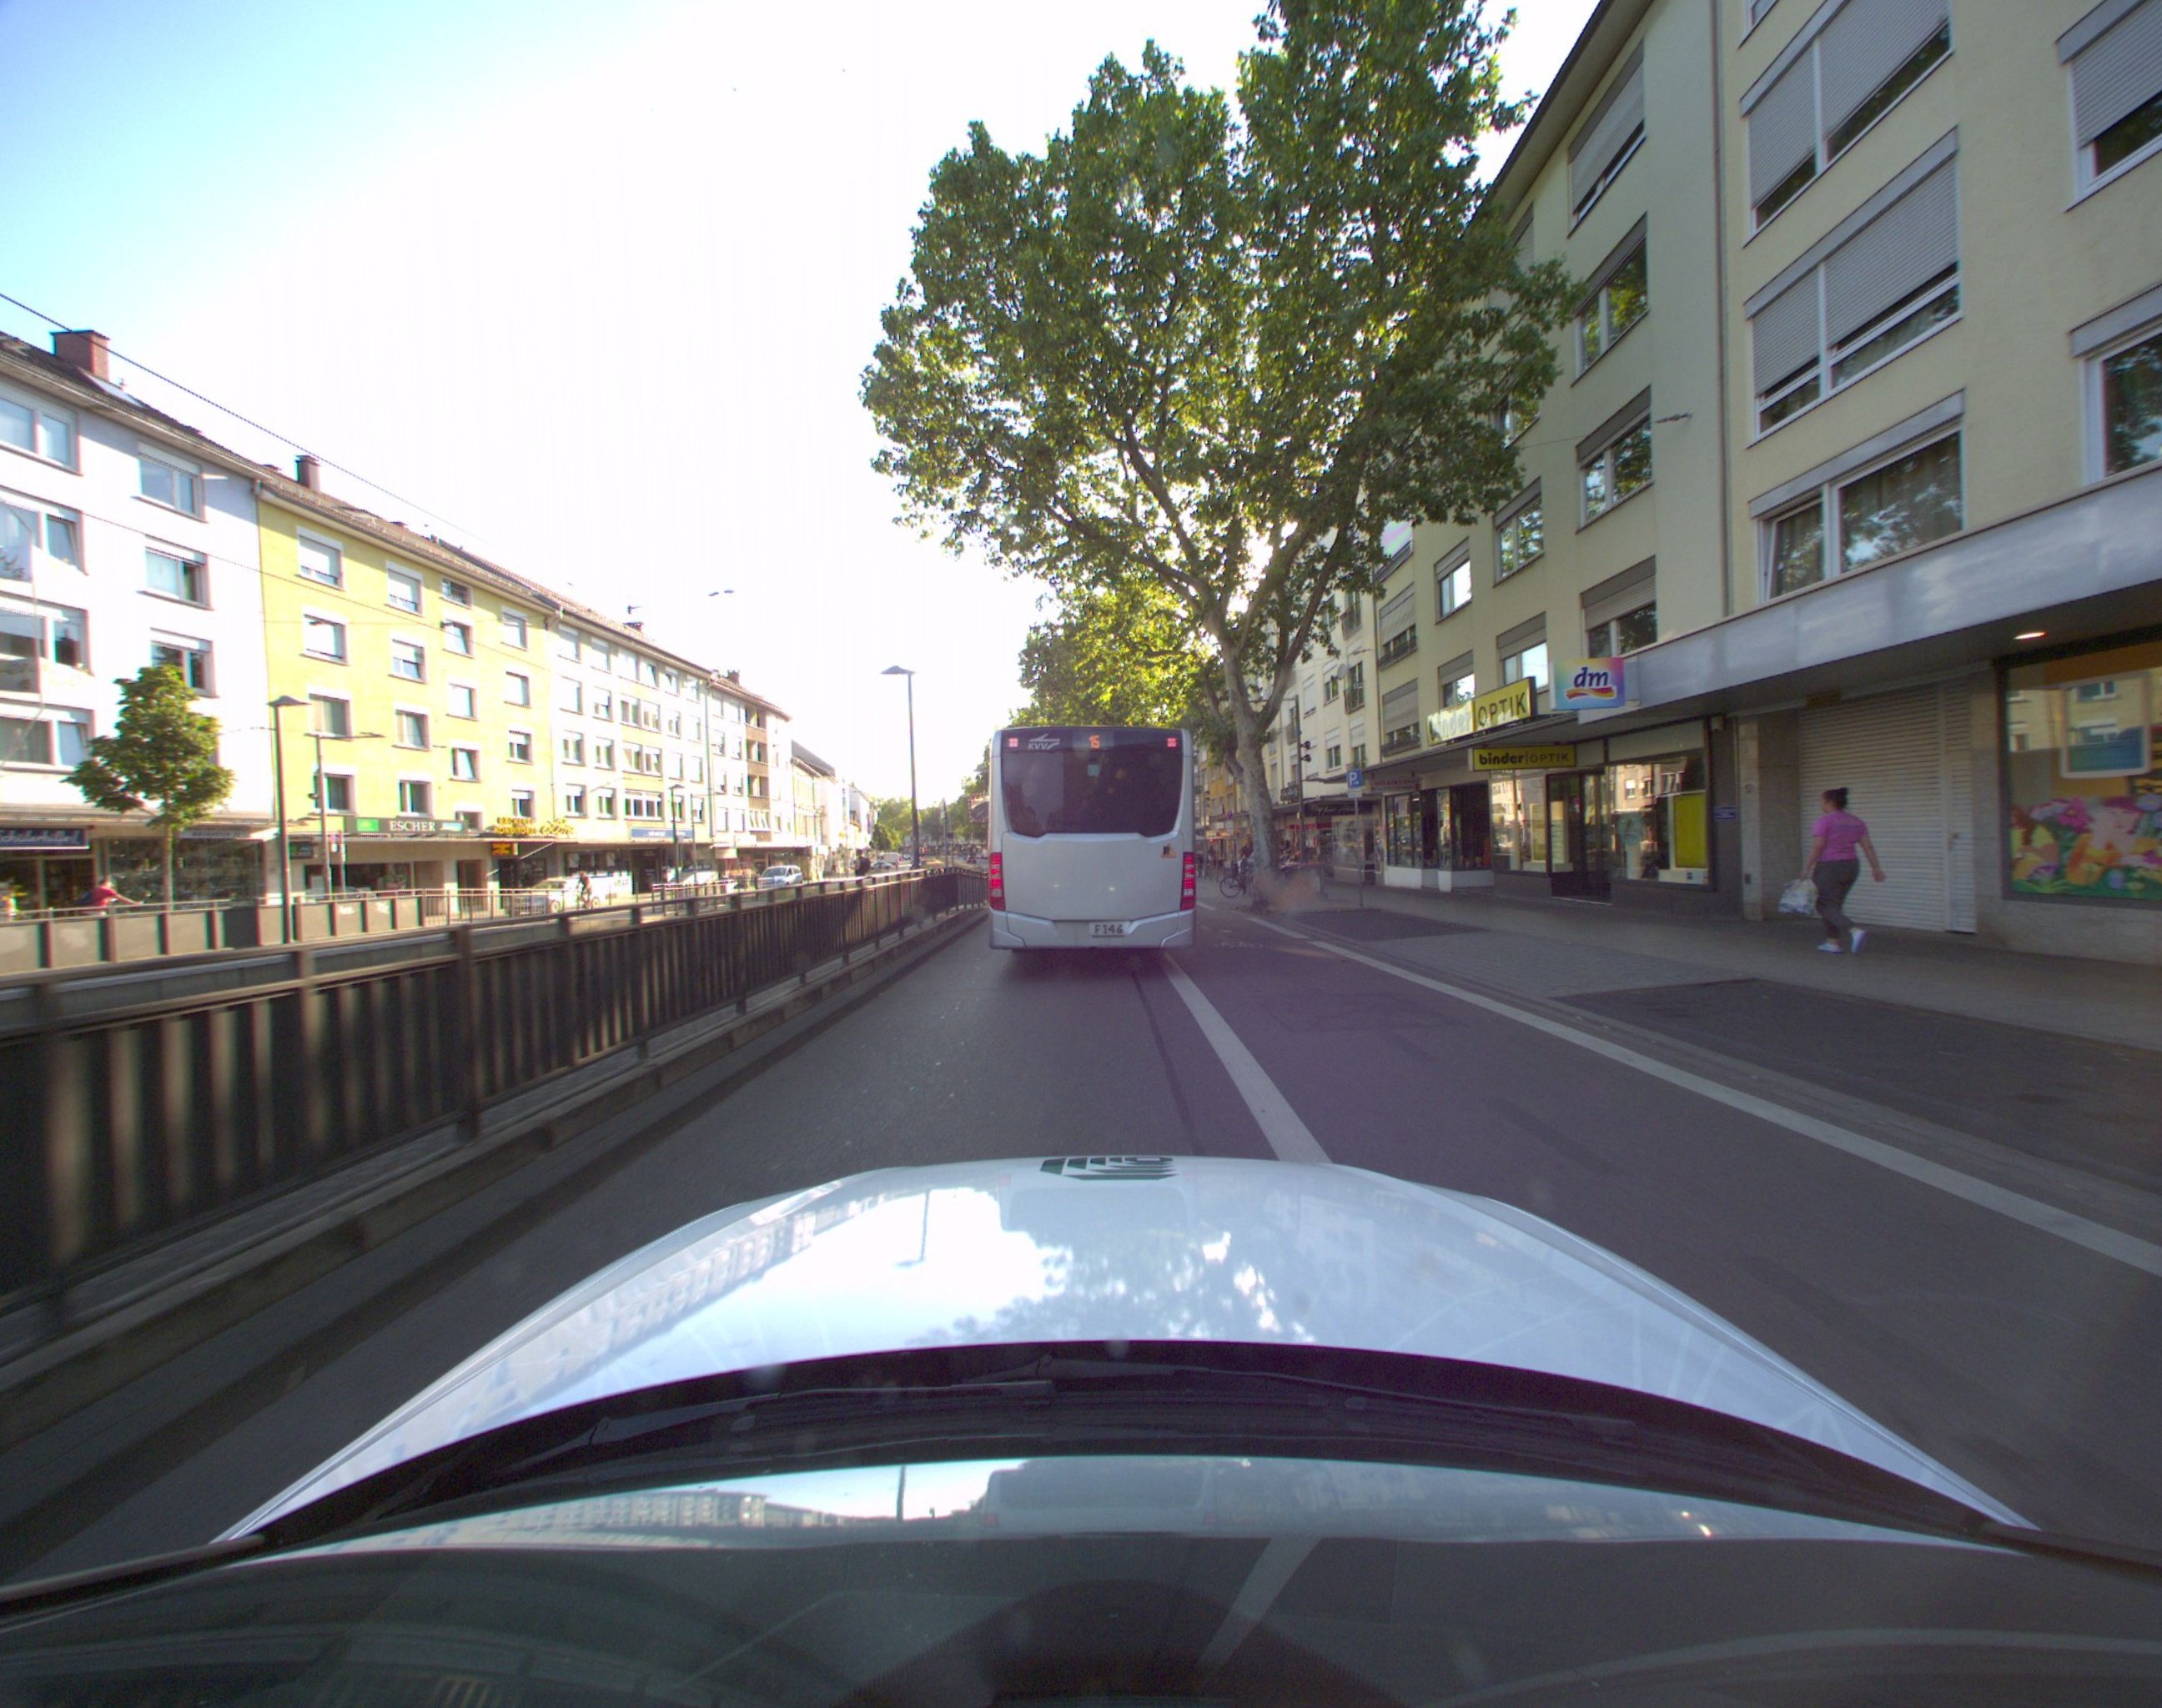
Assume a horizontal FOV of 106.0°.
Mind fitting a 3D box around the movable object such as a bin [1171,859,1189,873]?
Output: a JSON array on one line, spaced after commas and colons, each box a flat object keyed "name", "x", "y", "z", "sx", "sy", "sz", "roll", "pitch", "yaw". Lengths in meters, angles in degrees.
[{"name": "movable object such as a bin", "x": 7.006, "y": 0.847, "z": 57.767, "sx": 0.932, "sy": 1.023, "sz": 0.832, "roll": 0, "pitch": 0, "yaw": -30}]

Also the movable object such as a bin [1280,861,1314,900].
[{"name": "movable object such as a bin", "x": 6.257, "y": 0.758, "z": 23.601, "sx": 0.720, "sy": 1.072, "sz": 0.643, "roll": -4, "pitch": -1, "yaw": -2}]

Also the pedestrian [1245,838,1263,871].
[{"name": "pedestrian", "x": 8.556, "y": 0.042, "z": 40.257, "sx": 0.620, "sy": 1.586, "sz": 0.626, "roll": -4, "pitch": 0, "yaw": -1}]

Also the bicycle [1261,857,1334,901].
[{"name": "bicycle", "x": 5.700, "y": 0.667, "z": 21.513, "sx": 1.711, "sy": 1.118, "sz": 0.745, "roll": -1, "pitch": -4, "yaw": 1}]

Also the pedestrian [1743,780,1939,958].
[{"name": "pedestrian", "x": 8.193, "y": 0.158, "z": 8.855, "sx": 0.964, "sy": 1.763, "sz": 1.134, "roll": -3, "pitch": -1, "yaw": 1}]

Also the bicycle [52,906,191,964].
[{"name": "bicycle", "x": -23.861, "y": 1.987, "z": 20.327, "sx": 0.702, "sy": 1.159, "sz": 2.203, "roll": 2, "pitch": 1, "yaw": 7}]

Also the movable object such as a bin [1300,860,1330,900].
[{"name": "movable object such as a bin", "x": 6.634, "y": 0.723, "z": 23.110, "sx": 0.716, "sy": 1.072, "sz": 0.647, "roll": -4, "pitch": -1, "yaw": 19}]

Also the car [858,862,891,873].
[{"name": "car", "x": -31.820, "y": 2.047, "z": 125.649, "sx": 4.578, "sy": 1.412, "sz": 1.976, "roll": -2, "pitch": 0, "yaw": -43}]

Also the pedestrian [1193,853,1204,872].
[{"name": "pedestrian", "x": 8.128, "y": 0.599, "z": 56.231, "sx": 0.582, "sy": 1.275, "sz": 0.757, "roll": 0, "pitch": 0, "yaw": -6}]

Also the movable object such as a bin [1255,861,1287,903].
[{"name": "movable object such as a bin", "x": 5.432, "y": 0.790, "z": 23.328, "sx": 0.718, "sy": 1.102, "sz": 0.645, "roll": -6, "pitch": -1, "yaw": 7}]

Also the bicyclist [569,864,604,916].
[{"name": "bicyclist", "x": -20.004, "y": 1.457, "z": 32.959, "sx": 0.761, "sy": 2.013, "sz": 0.911, "roll": -3, "pitch": 0, "yaw": 0}]

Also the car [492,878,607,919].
[{"name": "car", "x": -21.946, "y": 1.803, "z": 33.848, "sx": 1.988, "sy": 1.478, "sz": 4.407, "roll": 0, "pitch": 0, "yaw": -2}]

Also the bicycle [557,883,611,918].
[{"name": "bicycle", "x": -19.988, "y": 1.859, "z": 32.801, "sx": 0.715, "sy": 1.230, "sz": 2.278, "roll": -3, "pitch": 0, "yaw": 0}]

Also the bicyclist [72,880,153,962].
[{"name": "bicyclist", "x": -23.879, "y": 1.630, "z": 20.102, "sx": 0.689, "sy": 1.886, "sz": 1.060, "roll": 2, "pitch": 1, "yaw": 7}]

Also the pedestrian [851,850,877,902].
[{"name": "pedestrian", "x": -7.855, "y": 0.780, "z": 29.455, "sx": 0.740, "sy": 1.848, "sz": 0.589, "roll": -2, "pitch": 0, "yaw": -5}]

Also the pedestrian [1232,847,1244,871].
[{"name": "pedestrian", "x": 10.455, "y": 0.327, "z": 54.184, "sx": 0.619, "sy": 1.546, "sz": 0.641, "roll": -2, "pitch": 0, "yaw": 24}]

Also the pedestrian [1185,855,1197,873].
[{"name": "pedestrian", "x": 7.363, "y": 0.675, "z": 54.521, "sx": 0.605, "sy": 1.225, "sz": 0.743, "roll": -2, "pitch": 0, "yaw": -6}]

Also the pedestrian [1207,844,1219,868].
[{"name": "pedestrian", "x": 10.504, "y": 0.155, "z": 64.930, "sx": 0.704, "sy": 1.791, "sz": 0.787, "roll": -5, "pitch": 0, "yaw": -1}]

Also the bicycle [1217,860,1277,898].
[{"name": "bicycle", "x": 5.614, "y": 0.845, "z": 27.654, "sx": 1.897, "sy": 1.105, "sz": 0.519, "roll": -4, "pitch": 0, "yaw": 7}]

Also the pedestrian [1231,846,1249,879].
[{"name": "pedestrian", "x": 7.872, "y": 0.428, "z": 40.280, "sx": 0.633, "sy": 1.586, "sz": 0.626, "roll": -4, "pitch": 0, "yaw": -1}]

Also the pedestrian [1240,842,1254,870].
[{"name": "pedestrian", "x": 10.647, "y": 0.125, "z": 52.265, "sx": 0.629, "sy": 1.804, "sz": 0.630, "roll": -2, "pitch": 0, "yaw": 29}]

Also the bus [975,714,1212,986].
[{"name": "bus", "x": 0.094, "y": -0.064, "z": 13.072, "sx": 2.670, "sy": 3.083, "sz": 7.110, "roll": -2, "pitch": 0, "yaw": -1}]

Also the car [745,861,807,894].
[{"name": "car", "x": -17.926, "y": 1.365, "z": 48.074, "sx": 1.987, "sy": 1.717, "sz": 4.434, "roll": -2, "pitch": 0, "yaw": -1}]

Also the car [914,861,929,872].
[{"name": "car", "x": -23.528, "y": 1.834, "z": 119.972, "sx": 1.720, "sy": 1.509, "sz": 3.469, "roll": -4, "pitch": 0, "yaw": -5}]
